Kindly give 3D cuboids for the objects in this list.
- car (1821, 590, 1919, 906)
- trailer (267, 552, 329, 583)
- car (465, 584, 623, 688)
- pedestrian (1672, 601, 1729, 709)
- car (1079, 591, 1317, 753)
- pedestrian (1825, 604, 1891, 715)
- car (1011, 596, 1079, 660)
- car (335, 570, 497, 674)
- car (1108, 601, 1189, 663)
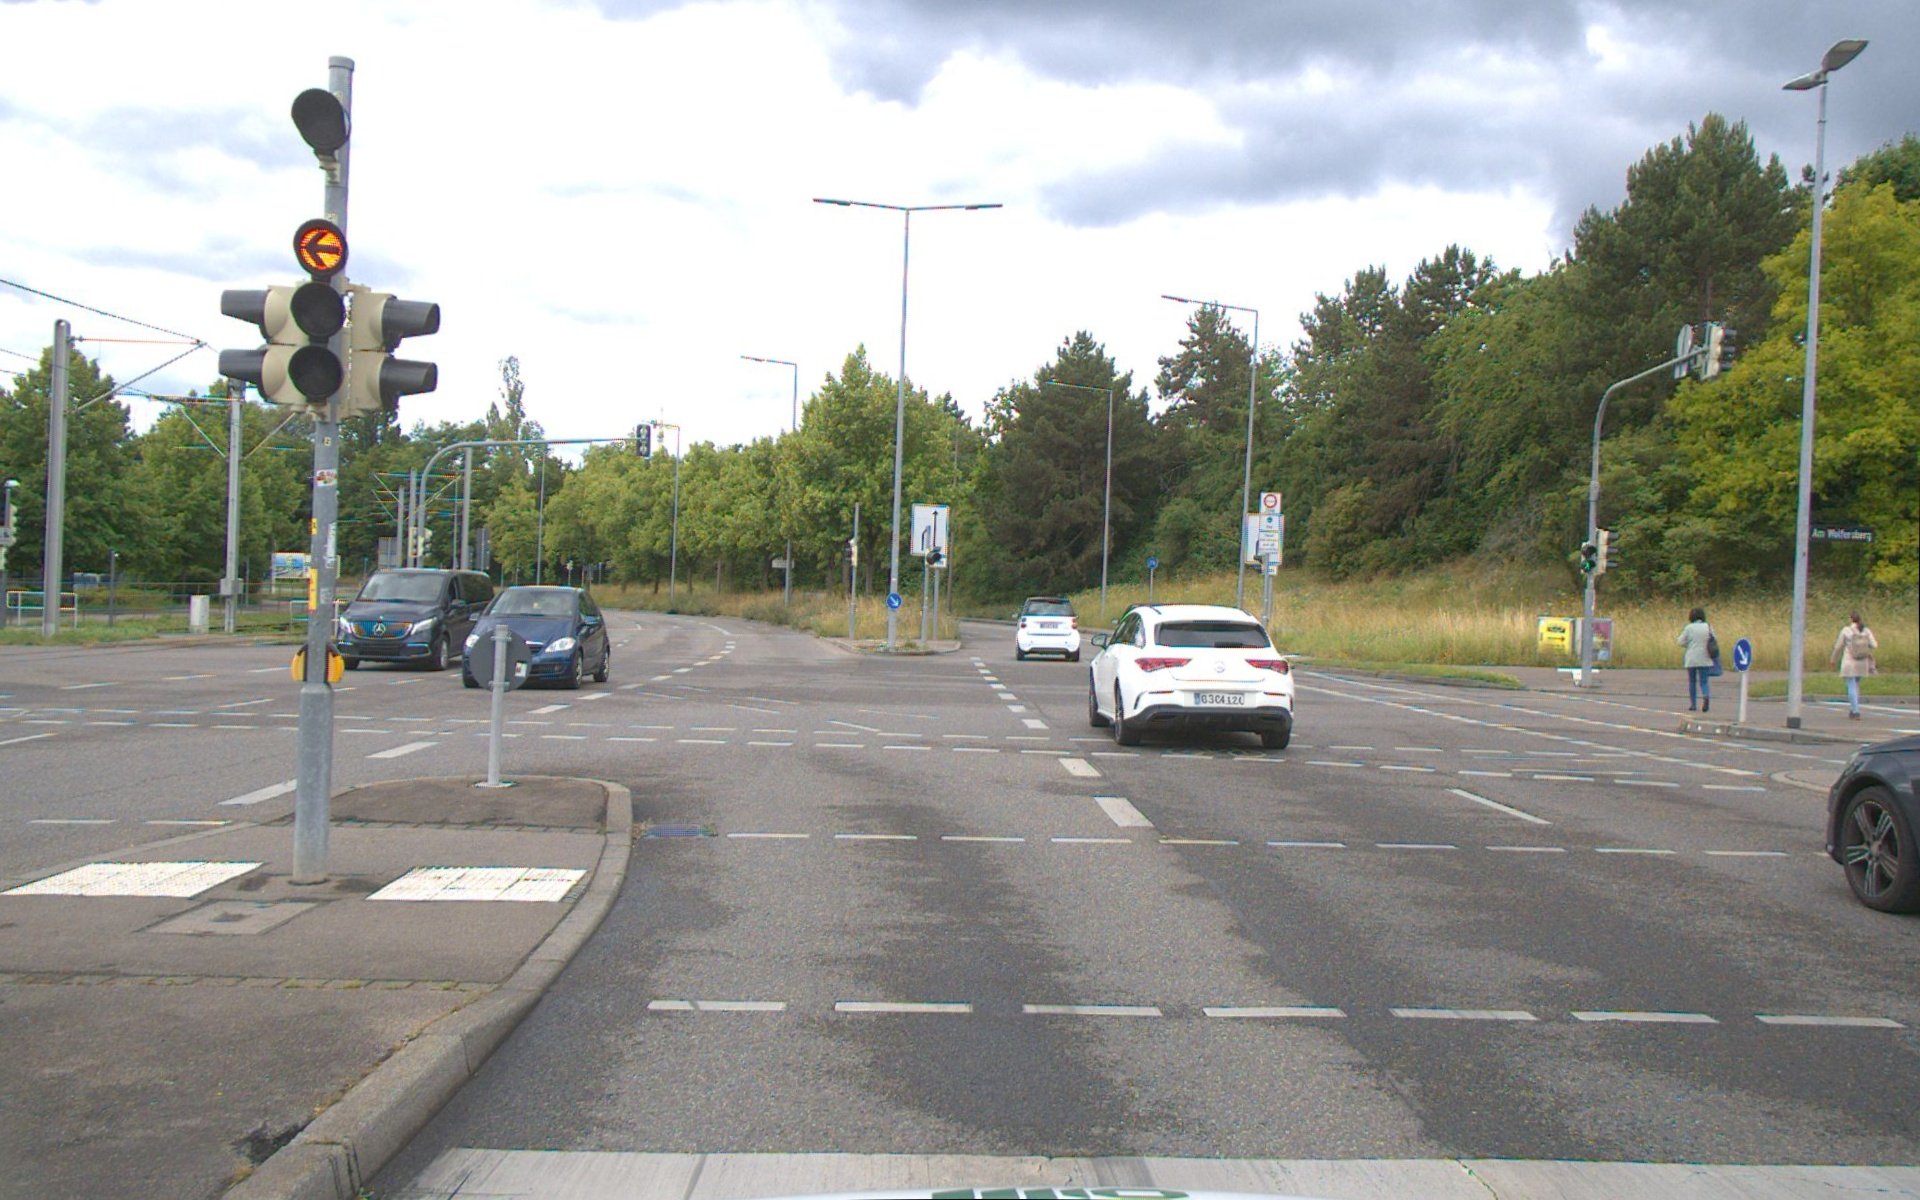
[{"bbox_3d":[5.507,0.752,6.694,1.711,1.511,4.355,1,1,-1],"label":"car"},{"bbox_3d":[-68.879,-3.382,172.020,5.949,3.065,2.752,1,-1,27],"label":"trailer"},{"bbox_3d":[-6.608,0.553,26.627,1.701,1.535,3.658,1,0,-2],"label":"car"},{"bbox_3d":[11.881,0.876,26.545,0.630,1.691,0.714,1,-1,6],"label":"pedestrian"},{"bbox_3d":[2.468,0.708,18.256,1.807,1.533,4.529,1,0,-2],"label":"car"},{"bbox_3d":[13.572,0.890,25.002,0.630,1.640,0.714,1,-1,5],"label":"pedestrian"},{"bbox_3d":[2.106,0.688,41.476,1.559,1.543,2.766,1,0,0],"label":"car"},{"bbox_3d":[-10.334,0.382,31.813,1.851,1.844,5.086,0,0,-5],"label":"car"},{"bbox_3d":[4.753,0.799,42.134,1.580,1.479,3.881,1,0,-1],"label":"car"}]
